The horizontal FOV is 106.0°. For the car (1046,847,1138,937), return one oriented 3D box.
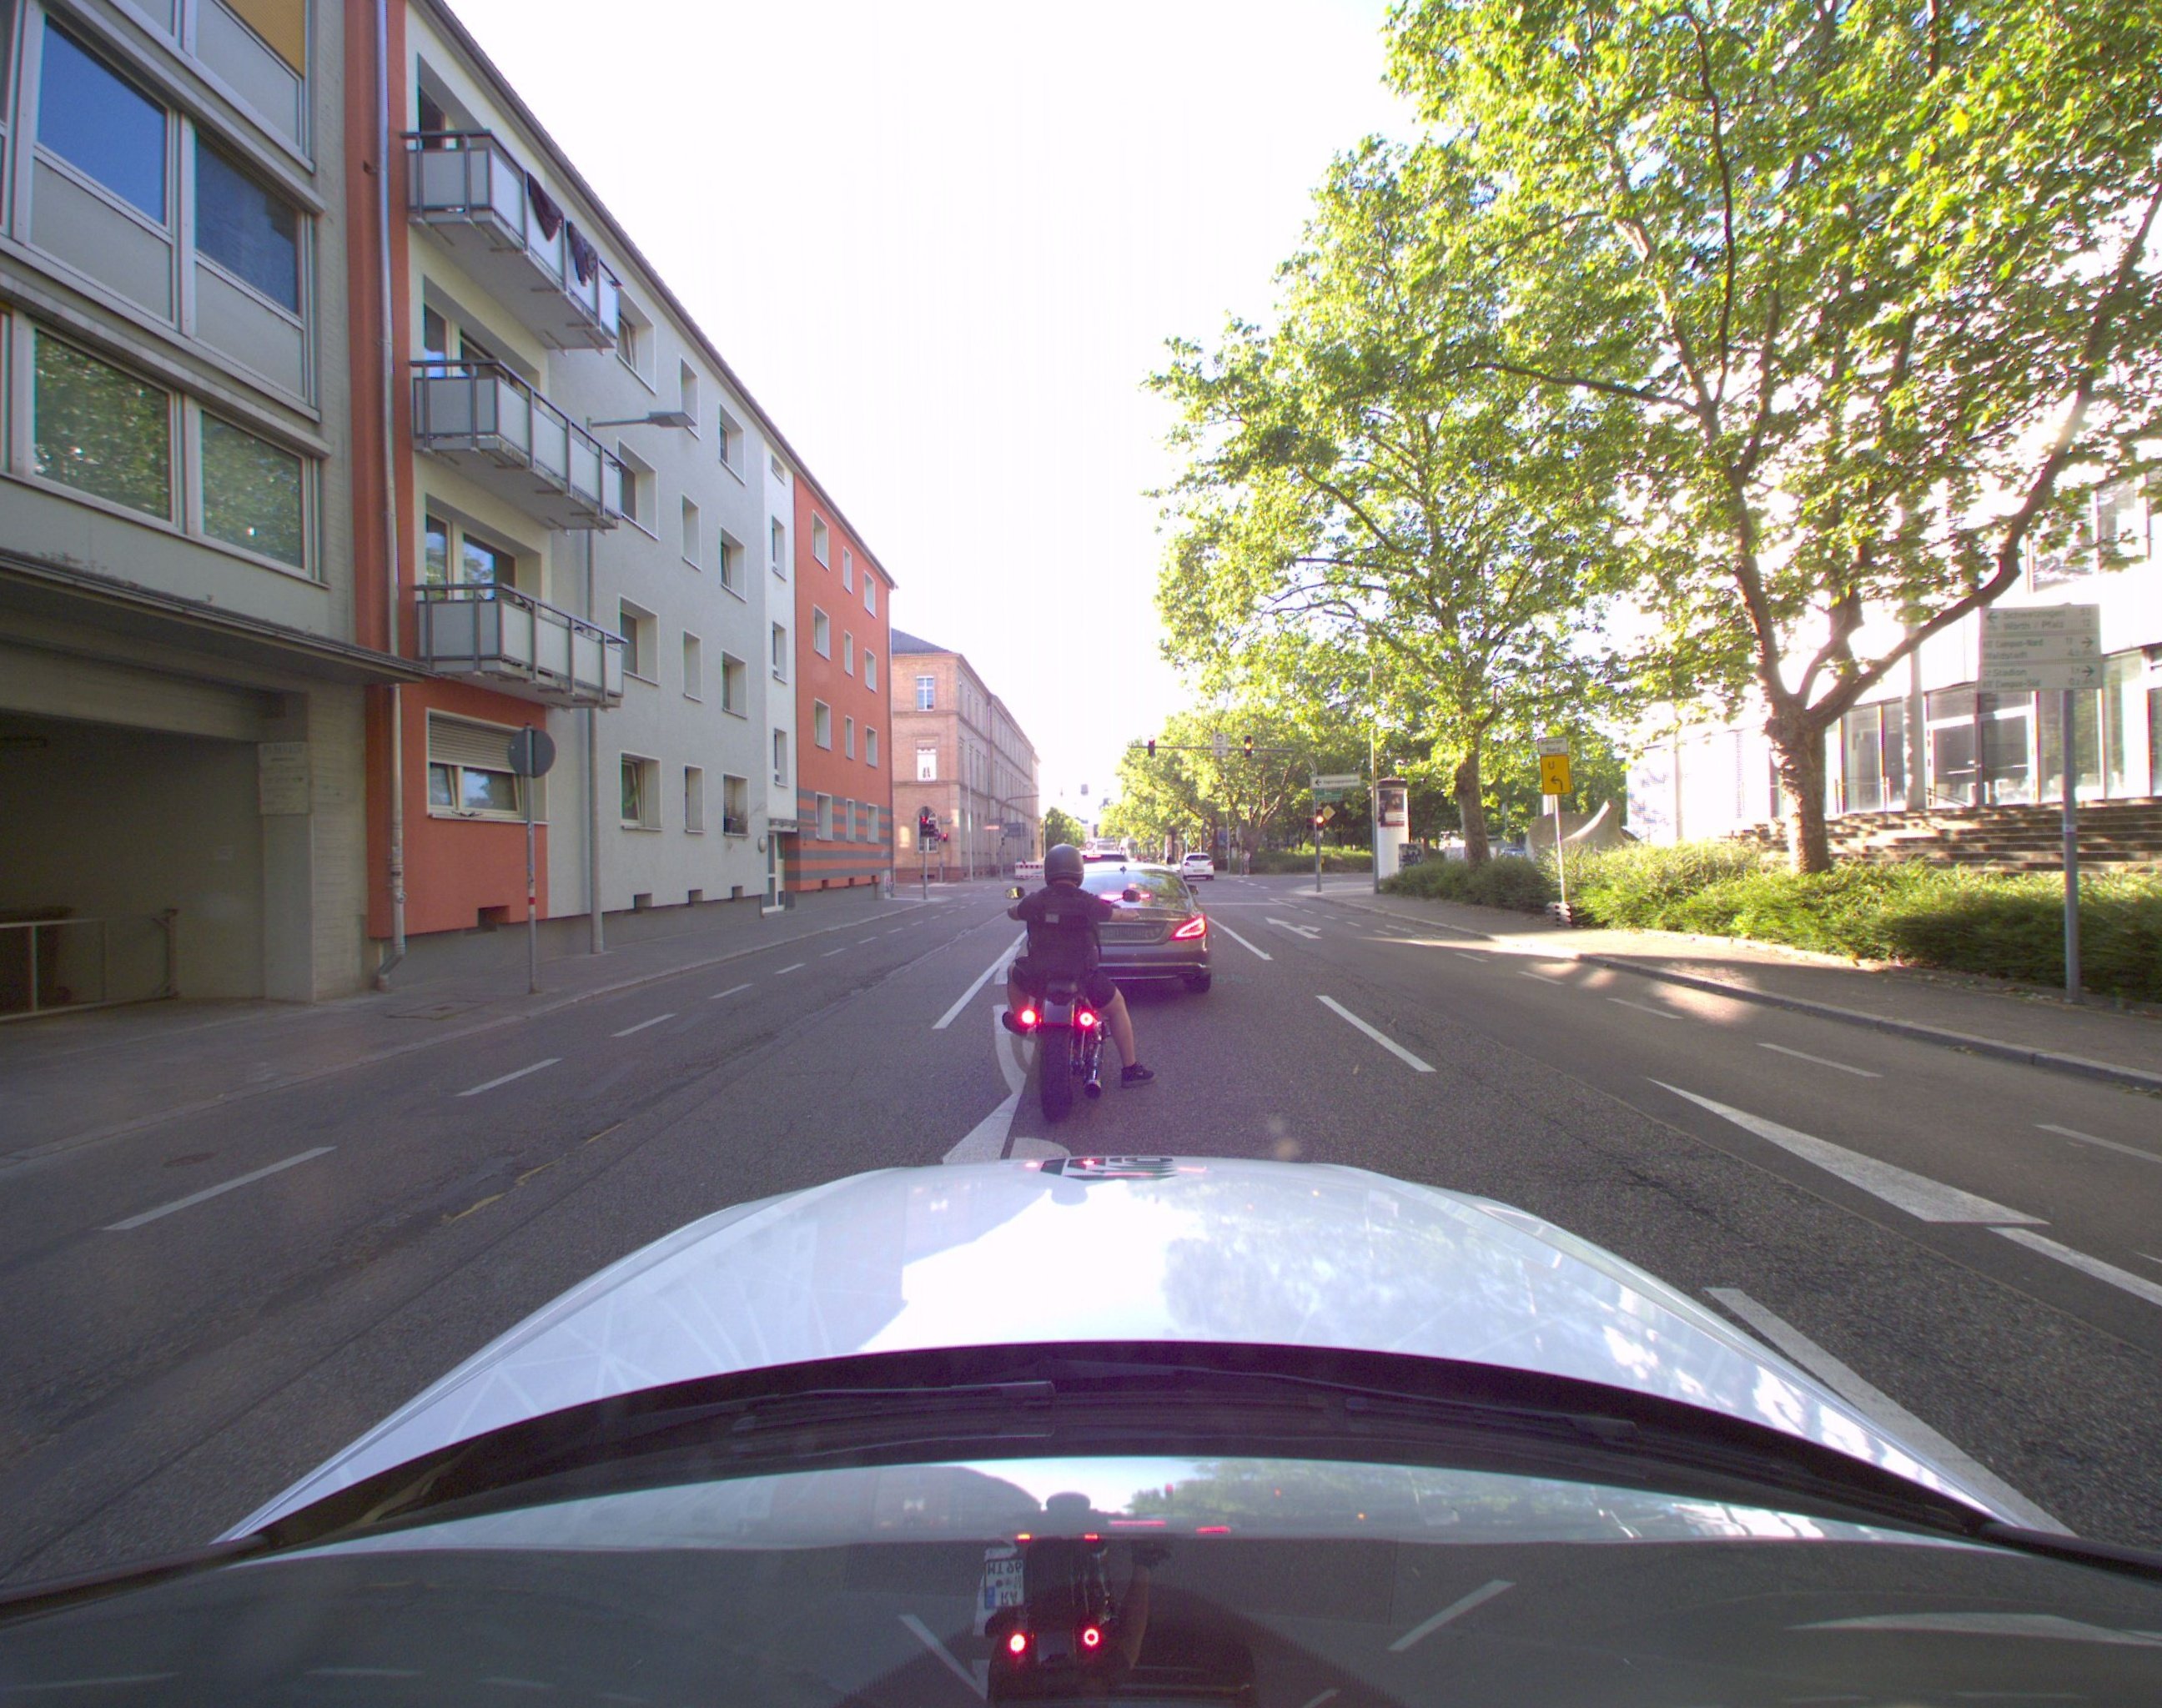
[{"bbox_3d":[0.125,0.709,16.852,1.627,1.651,3.845,0,0,-4],"label":"car"}]

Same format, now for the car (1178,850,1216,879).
[{"bbox_3d":[6.261,0.558,44.263,1.672,1.498,3.687,0,0,2],"label":"car"}]

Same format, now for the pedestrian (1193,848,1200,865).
[{"bbox_3d":[11.226,0.256,78.986,0.590,1.578,0.527,0,-1,2],"label":"pedestrian"}]

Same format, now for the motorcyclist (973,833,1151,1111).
[{"bbox_3d":[-0.089,0.690,5.471,1.008,1.602,1.406,-1,0,1],"label":"motorcyclist"}]

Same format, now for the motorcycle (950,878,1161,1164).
[{"bbox_3d":[-0.087,0.859,5.337,1.008,1.306,2.673,-1,0,2],"label":"motorcycle"}]

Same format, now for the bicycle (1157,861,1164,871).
[{"bbox_3d":[8.984,1.389,92.058,0.653,1.111,2.186,0,-1,2],"label":"bicycle"}]

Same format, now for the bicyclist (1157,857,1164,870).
[{"bbox_3d":[8.977,1.063,92.033,0.653,1.530,0.906,0,-1,1],"label":"bicyclist"}]

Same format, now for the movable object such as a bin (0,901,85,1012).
[{"bbox_3d":[-11.228,1.069,8.642,0.487,1.088,0.654,-1,0,1],"label":"movable object such as a bin"}]

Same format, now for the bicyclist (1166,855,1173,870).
[{"bbox_3d":[8.883,0.840,81.691,0.653,1.530,0.852,0,-1,1],"label":"bicyclist"}]

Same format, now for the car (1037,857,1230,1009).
[{"bbox_3d":[0.557,0.757,9.681,1.821,1.420,3.816,-1,0,2],"label":"car"}]

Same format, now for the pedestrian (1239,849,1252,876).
[{"bbox_3d":[10.747,0.541,53.095,0.574,1.774,0.619,1,-1,-33],"label":"pedestrian"}]

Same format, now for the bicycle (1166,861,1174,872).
[{"bbox_3d":[8.884,1.238,81.671,0.654,1.070,1.927,0,-1,1],"label":"bicycle"}]
